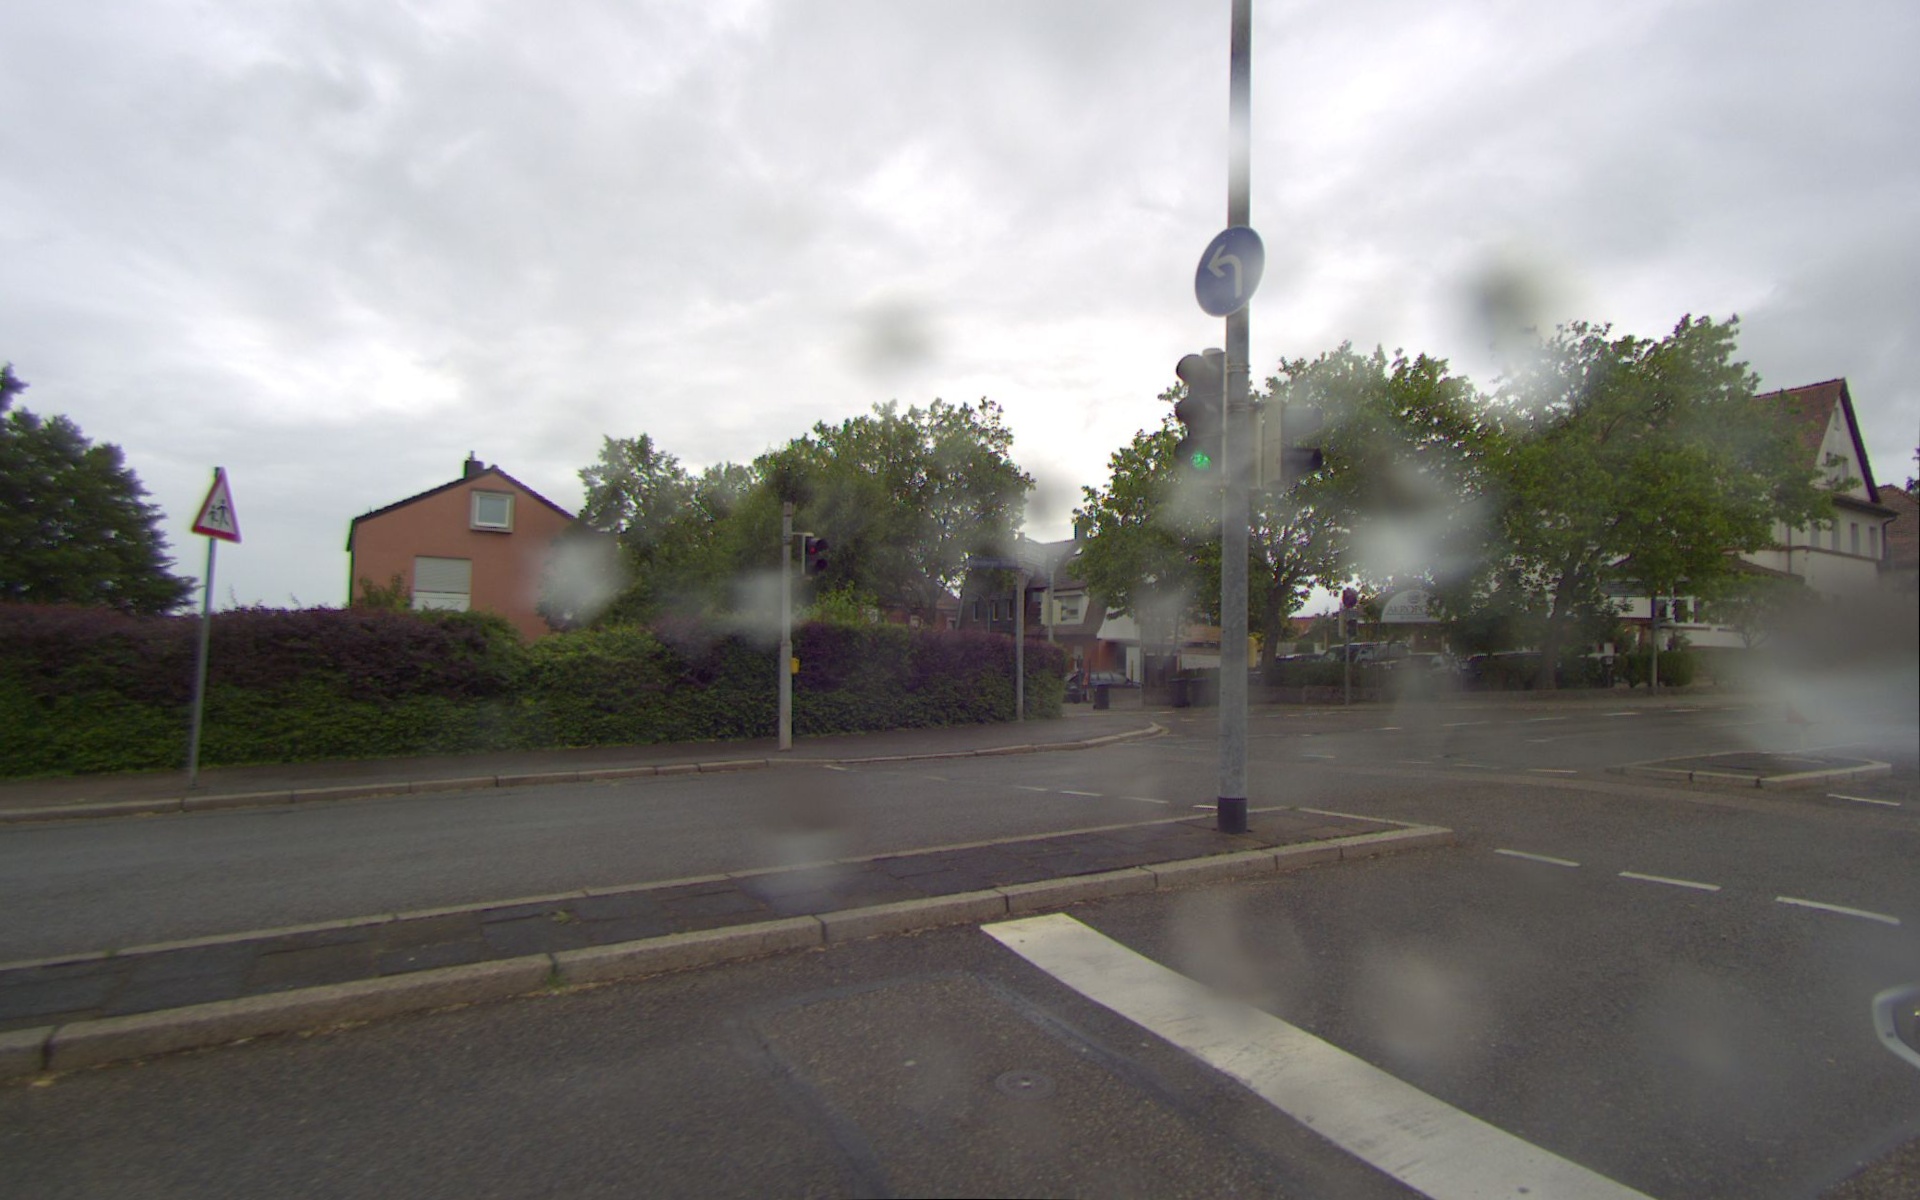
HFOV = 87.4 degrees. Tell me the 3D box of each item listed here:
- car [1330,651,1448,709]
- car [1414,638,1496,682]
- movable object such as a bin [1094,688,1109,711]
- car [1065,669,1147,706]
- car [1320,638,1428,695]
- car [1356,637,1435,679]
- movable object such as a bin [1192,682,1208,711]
[{"bbox_3d":[14.794,2.703,34.605,3.955,1.573,1.799,-3,1,-32],"label":"car"},{"bbox_3d":[24.669,2.962,50.006,3.959,2.040,1.981,2,-1,-34],"label":"car"},{"bbox_3d":[5.794,4.065,41.070,0.446,0.918,0.450,1,-1,-14],"label":"movable object such as a bin"},{"bbox_3d":[6.908,4.130,47.557,3.458,1.574,1.798,2,-1,-30],"label":"car"},{"bbox_3d":[15.672,2.479,37.971,3.955,1.786,1.799,-3,1,-32],"label":"car"},{"bbox_3d":[22.779,3.011,52.522,3.959,2.040,1.981,2,-1,-34],"label":"car"},{"bbox_3d":[8.906,3.586,37.343,0.404,1.057,0.450,1,-1,-14],"label":"movable object such as a bin"}]
